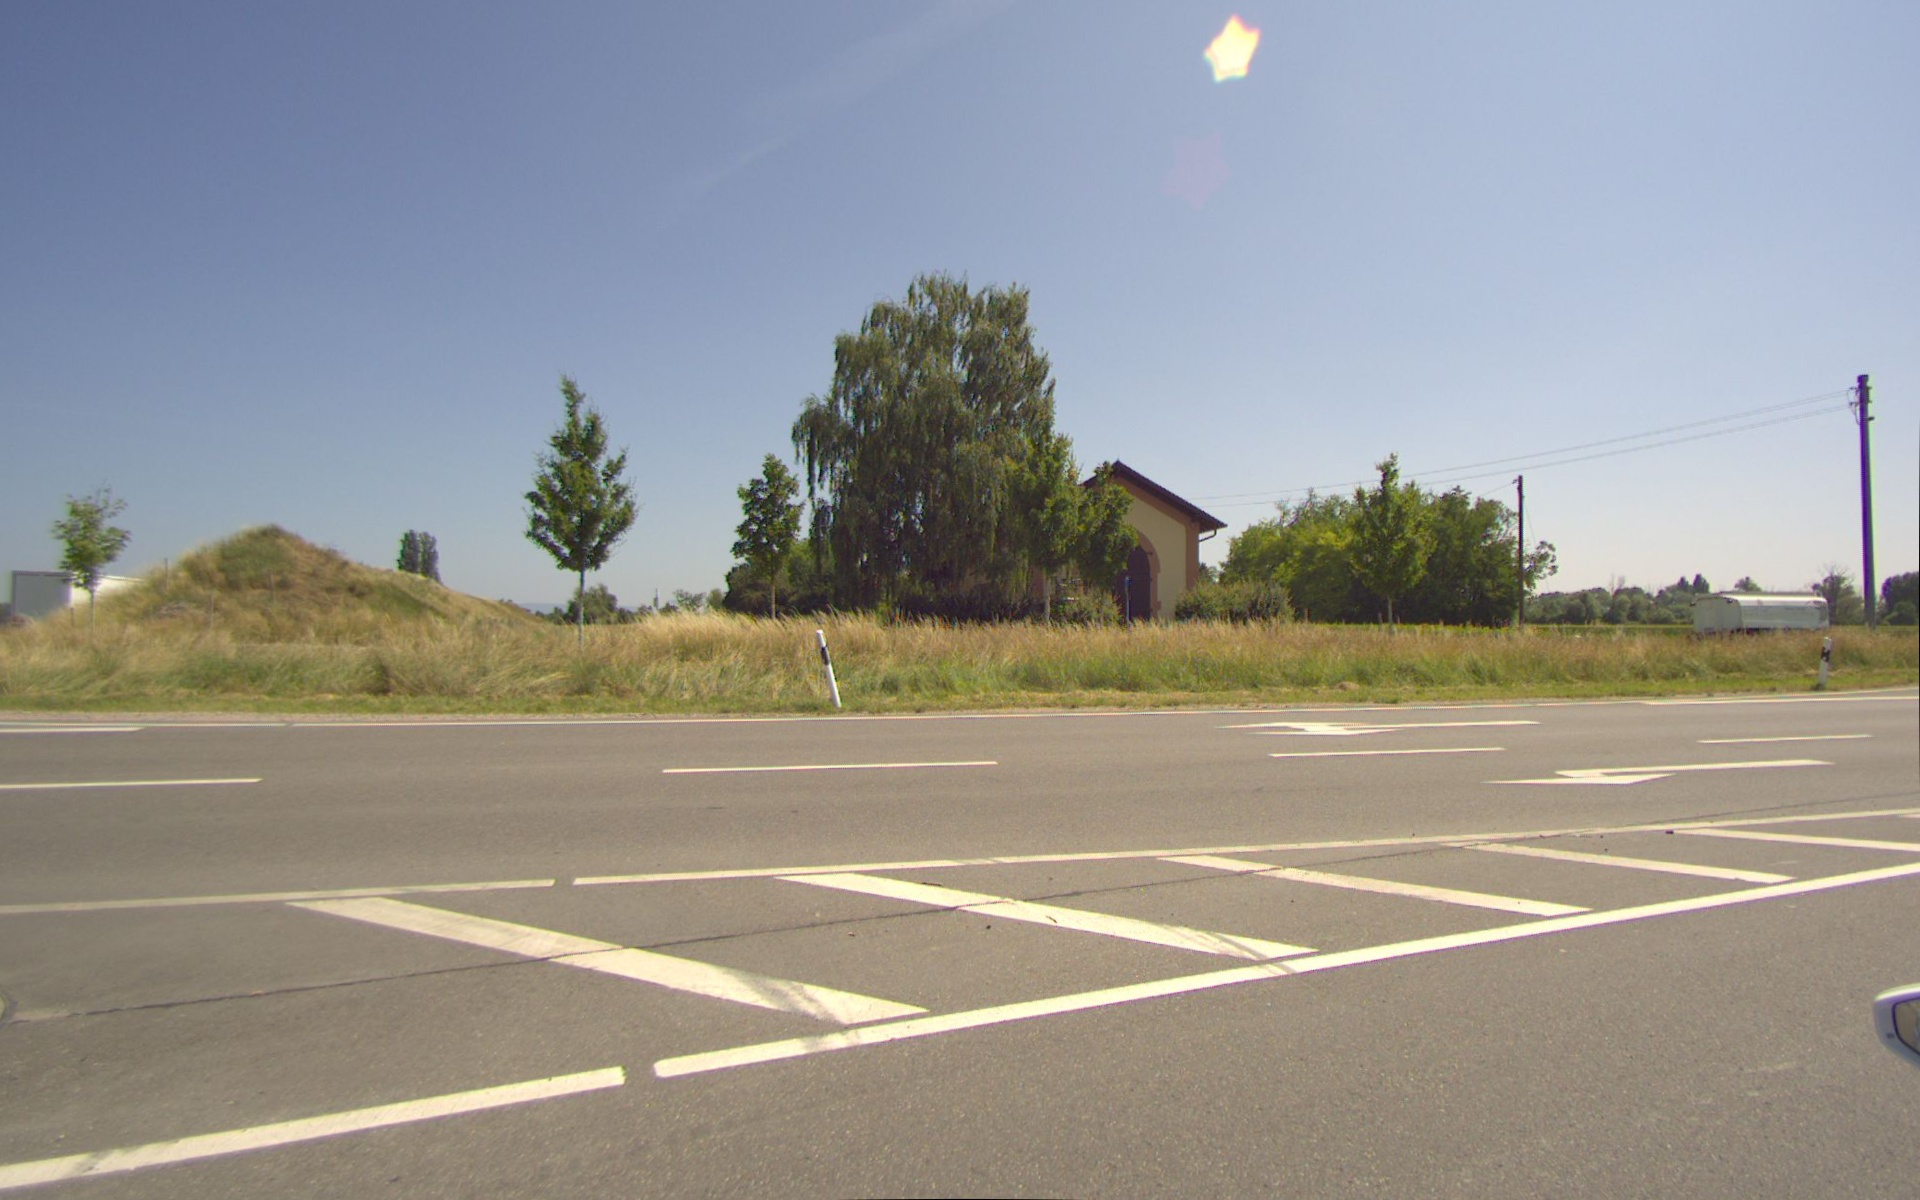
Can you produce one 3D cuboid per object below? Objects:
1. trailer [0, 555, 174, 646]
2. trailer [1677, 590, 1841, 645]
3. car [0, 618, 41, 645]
[{"bbox_3d":[-50.441,0.244,58.503,3.341,4.602,12.813,2,-2,-20],"label":"trailer"},{"bbox_3d":[37.118,0.789,46.741,6.273,2.488,2.680,0,0,-13],"label":"trailer"},{"bbox_3d":[-53.759,1.737,56.082,1.866,1.466,4.508,2,-3,-19],"label":"car"}]
